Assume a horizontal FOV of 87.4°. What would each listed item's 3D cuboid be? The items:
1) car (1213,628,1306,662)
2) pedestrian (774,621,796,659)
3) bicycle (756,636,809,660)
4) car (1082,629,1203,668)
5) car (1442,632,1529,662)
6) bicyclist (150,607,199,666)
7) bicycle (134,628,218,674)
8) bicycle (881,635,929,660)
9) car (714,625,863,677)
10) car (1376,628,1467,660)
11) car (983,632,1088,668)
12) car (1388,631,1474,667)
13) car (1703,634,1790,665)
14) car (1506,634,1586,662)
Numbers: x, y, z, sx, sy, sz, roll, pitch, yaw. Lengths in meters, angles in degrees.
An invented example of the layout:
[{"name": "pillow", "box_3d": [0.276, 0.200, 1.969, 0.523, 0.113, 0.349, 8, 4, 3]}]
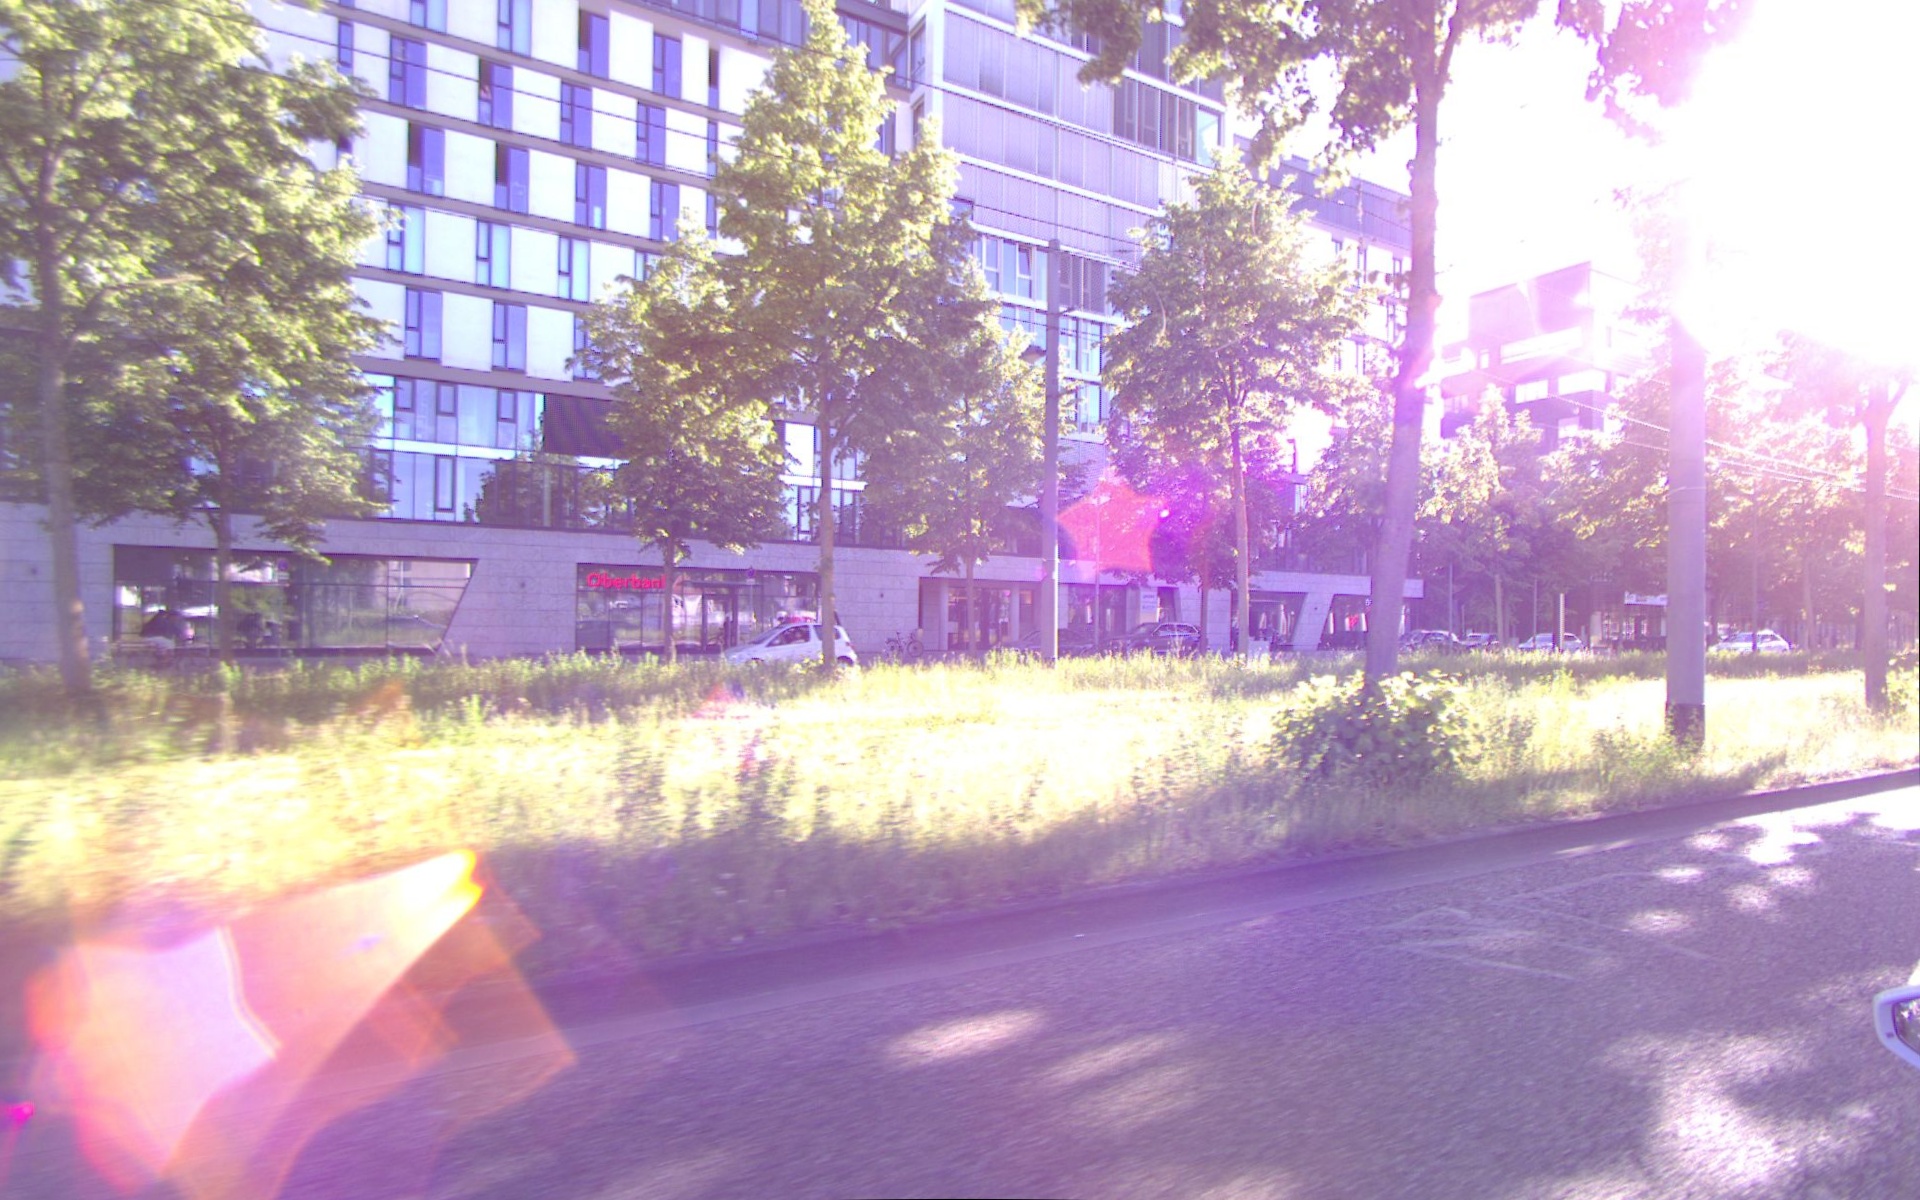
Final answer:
[{"name": "car", "box_3d": [12.688, 1.879, 42.543, 3.710, 1.372, 1.725, 1, -1, -30]}, {"name": "pedestrian", "box_3d": [-6.782, 1.545, 38.867, 0.682, 1.431, 0.406, 3, -2, -30]}, {"name": "bicycle", "box_3d": [-6.938, 1.886, 39.335, 1.991, 0.892, 0.539, 2, -1, -30]}, {"name": "car", "box_3d": [7.211, 1.884, 39.484, 4.749, 1.438, 1.660, 1, -1, -31]}, {"name": "car", "box_3d": [26.634, 2.364, 50.879, 4.488, 1.439, 1.708, 1, -1, -28]}, {"name": "bicyclist", "box_3d": [-20.044, 0.921, 25.648, 0.821, 1.483, 0.717, 1, -1, -28]}, {"name": "bicycle", "box_3d": [-20.002, 1.294, 25.666, 1.551, 1.135, 0.729, 1, -1, -28]}, {"name": "bicycle", "box_3d": [-2.286, 1.997, 42.156, 1.960, 0.985, 0.539, 3, -2, -30]}, {"name": "car", "box_3d": [-4.437, 1.293, 25.990, 3.441, 1.254, 1.762, 1, -1, -29]}, {"name": "car", "box_3d": [22.214, 2.098, 48.339, 4.491, 1.439, 1.707, 1, -1, -30]}, {"name": "car", "box_3d": [2.777, 1.805, 36.743, 3.541, 1.223, 1.660, 1, -1, -31]}, {"name": "car", "box_3d": [25.824, 2.671, 55.021, 5.070, 1.801, 1.788, 1, 0, -31]}, {"name": "car", "box_3d": [36.846, 2.302, 47.032, 4.260, 1.309, 1.789, 0, -2, -31]}, {"name": "car", "box_3d": [31.294, 2.551, 53.630, 4.491, 1.439, 1.707, 1, -1, -30]}]
